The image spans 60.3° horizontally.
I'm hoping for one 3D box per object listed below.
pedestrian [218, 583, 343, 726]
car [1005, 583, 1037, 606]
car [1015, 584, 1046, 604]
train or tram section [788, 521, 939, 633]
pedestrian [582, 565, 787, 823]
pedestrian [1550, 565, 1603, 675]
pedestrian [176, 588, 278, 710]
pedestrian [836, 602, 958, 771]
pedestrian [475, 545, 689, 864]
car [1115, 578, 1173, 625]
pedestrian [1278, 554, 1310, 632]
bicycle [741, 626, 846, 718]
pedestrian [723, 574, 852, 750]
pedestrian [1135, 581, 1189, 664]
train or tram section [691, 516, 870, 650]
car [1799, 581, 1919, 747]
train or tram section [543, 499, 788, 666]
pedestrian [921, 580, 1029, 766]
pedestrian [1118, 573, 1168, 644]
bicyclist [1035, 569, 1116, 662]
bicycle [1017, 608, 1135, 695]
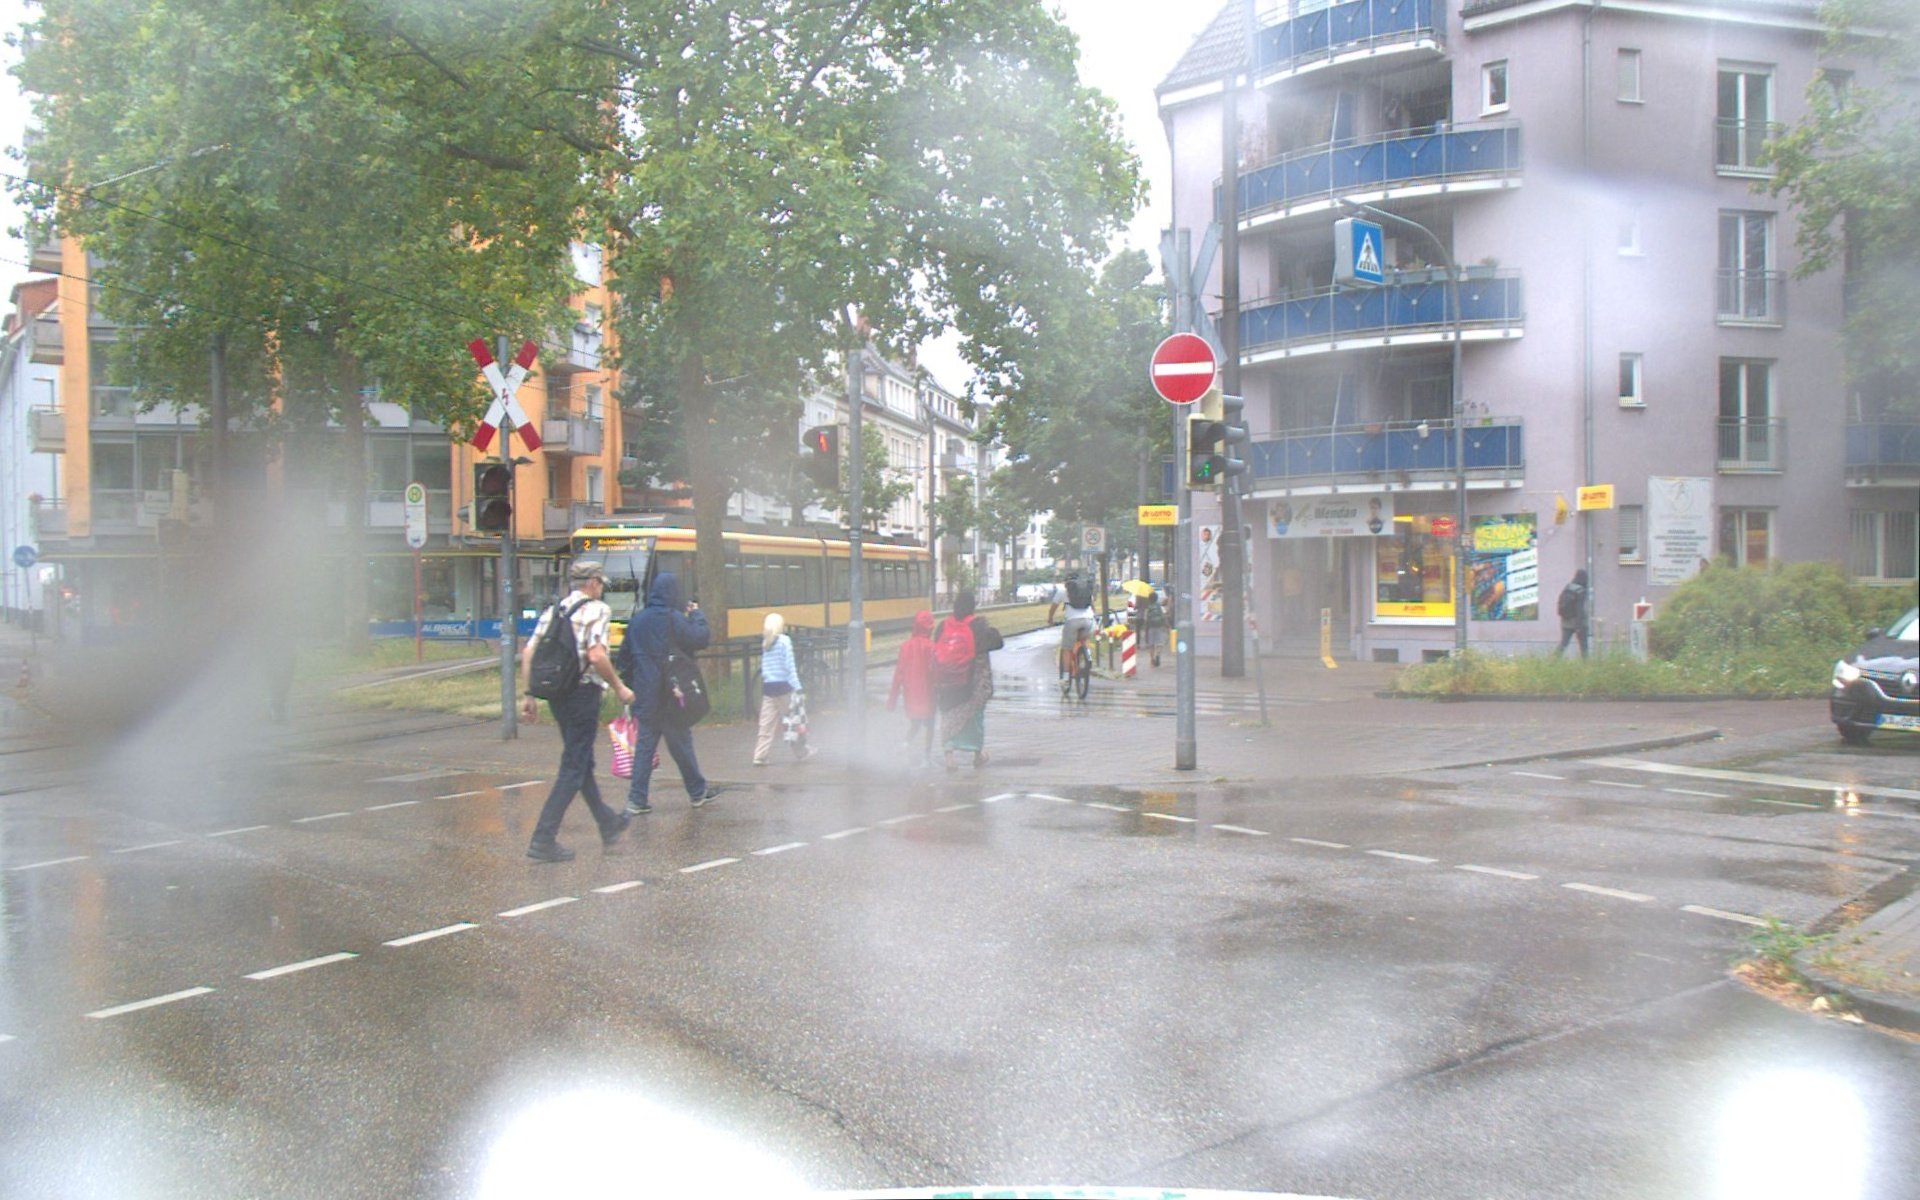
[{"bbox_3d":[-9.012,0.691,21.955,1.211,1.820,1.035,0,0,34],"label":"pedestrian"},{"bbox_3d":[4.296,-0.394,116.155,1.951,1.559,4.003,0,1,7],"label":"car"},{"bbox_3d":[5.231,-0.434,121.880,1.951,1.422,4.003,0,1,7],"label":"car"},{"bbox_3d":[-3.027,-0.751,55.574,2.581,3.410,9.996,0,1,11],"label":"train or tram section"},{"bbox_3d":[-1.969,0.625,11.856,0.978,1.716,1.050,0,1,41],"label":"pedestrian"},{"bbox_3d":[10.556,0.333,28.333,0.617,1.835,0.632,-2,1,-44],"label":"pedestrian"},{"bbox_3d":[-12.012,0.775,27.103,1.164,1.897,1.364,0,1,-42],"label":"pedestrian"},{"bbox_3d":[-0.548,0.743,14.685,0.658,1.405,1.009,-1,1,27],"label":"pedestrian"},{"bbox_3d":[-2.264,0.582,9.996,0.793,1.812,0.994,-1,1,23],"label":"pedestrian"},{"bbox_3d":[7.087,0.025,63.359,1.951,1.702,4.004,-1,1,10],"label":"car"},{"bbox_3d":[7.066,-0.155,34.959,0.464,1.630,0.591,0,0,37],"label":"pedestrian"},{"bbox_3d":[-2.117,0.900,21.208,0.437,1.095,1.615,0,1,32],"label":"bicycle"},{"bbox_3d":[-1.575,0.548,15.283,0.857,1.552,1.066,-1,1,13],"label":"pedestrian"},{"bbox_3d":[3.904,0.427,31.952,0.970,1.586,0.785,-1,0,11],"label":"pedestrian"},{"bbox_3d":[-4.848,-0.480,46.540,2.581,3.410,8.384,0,1,11],"label":"train or tram section"},{"bbox_3d":[10.243,0.565,16.541,4.142,1.486,1.964,-1,1,-42],"label":"car"},{"bbox_3d":[-6.545,-0.400,38.339,2.581,3.428,8.384,0,1,12],"label":"train or tram section"},{"bbox_3d":[0.138,0.624,14.581,0.676,1.574,0.761,-1,1,24],"label":"pedestrian"},{"bbox_3d":[4.550,0.197,41.120,0.935,1.727,0.919,0,1,32],"label":"pedestrian"},{"bbox_3d":[1.711,0.222,24.632,0.732,1.332,1.066,-2,1,-30],"label":"bicyclist"},{"bbox_3d":[1.707,0.737,24.661,0.743,1.193,2.020,-2,1,-30],"label":"bicycle"}]
